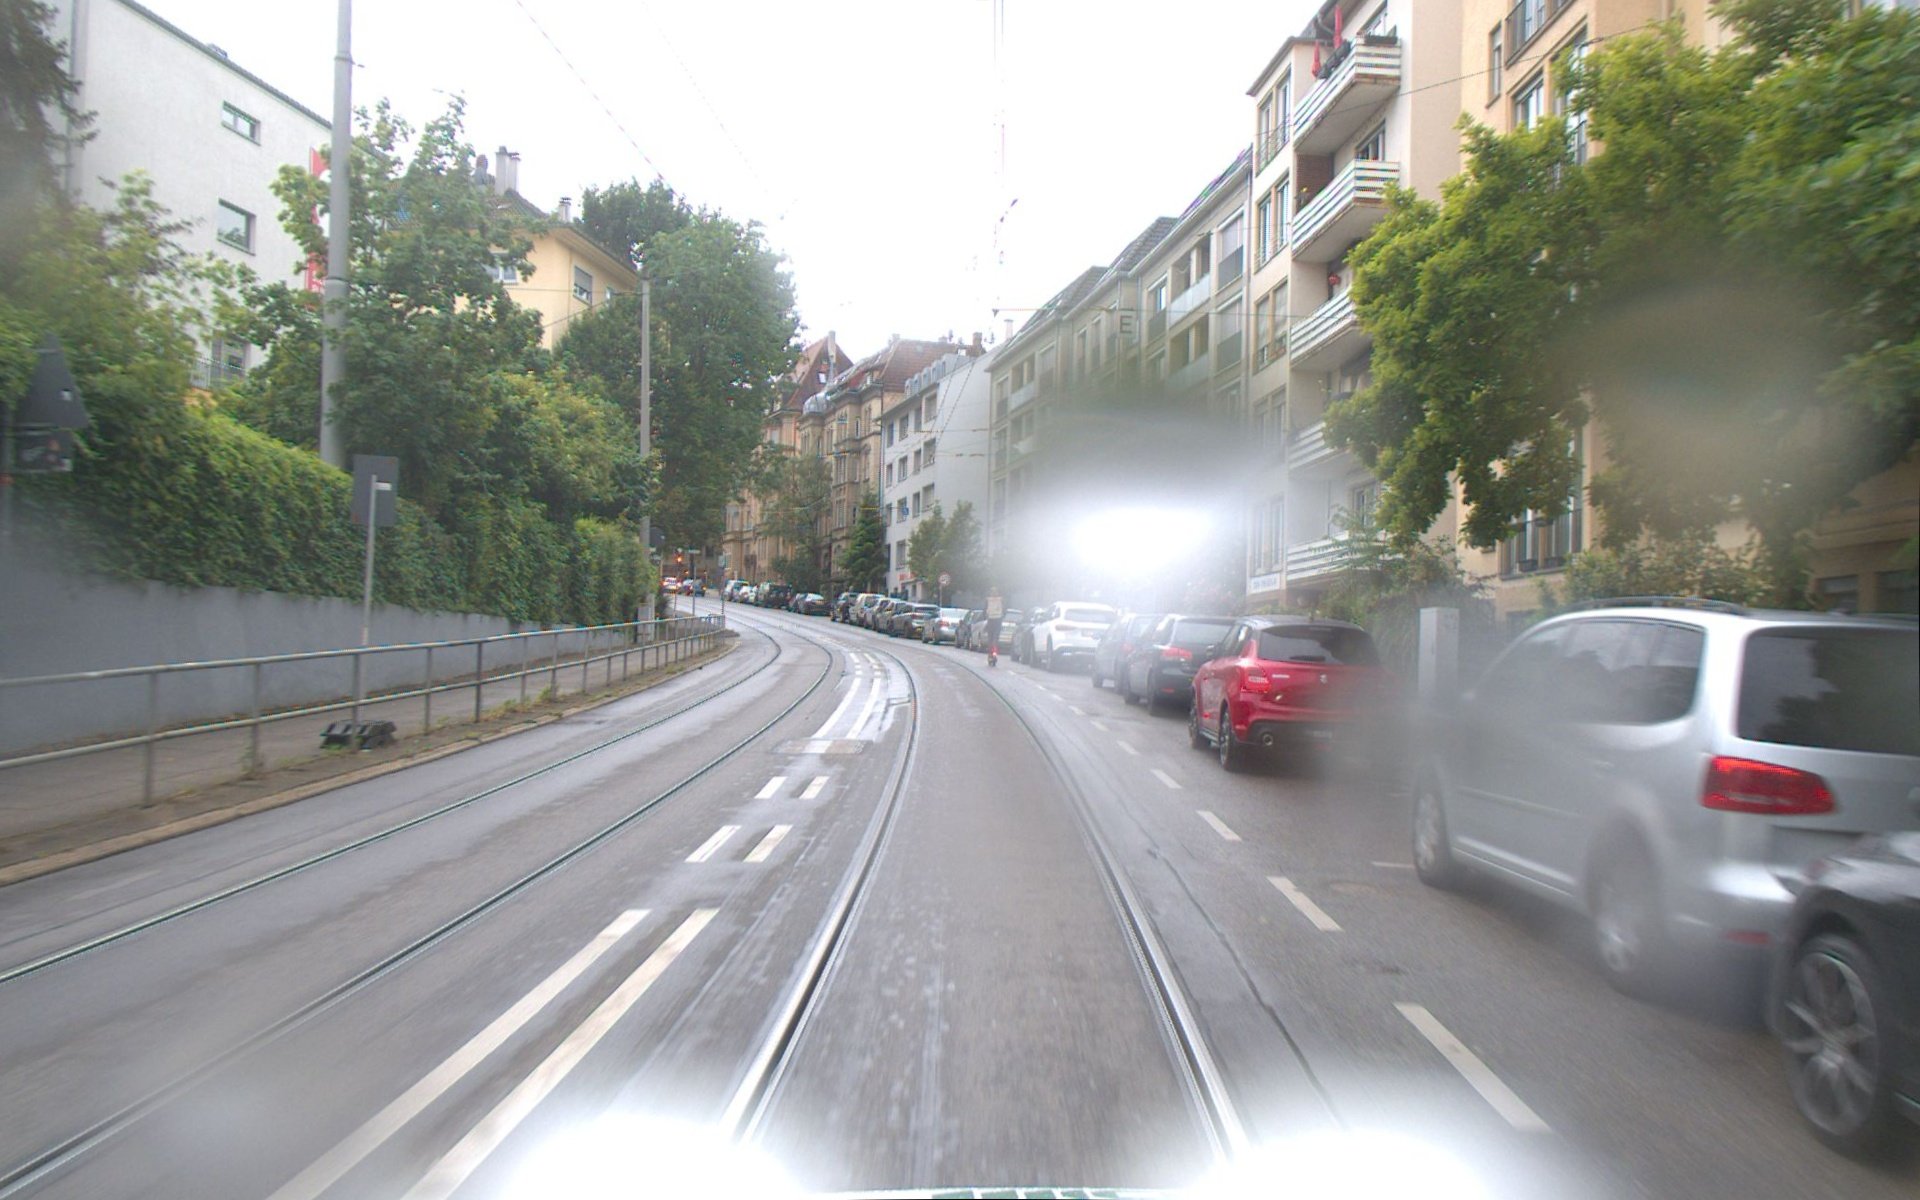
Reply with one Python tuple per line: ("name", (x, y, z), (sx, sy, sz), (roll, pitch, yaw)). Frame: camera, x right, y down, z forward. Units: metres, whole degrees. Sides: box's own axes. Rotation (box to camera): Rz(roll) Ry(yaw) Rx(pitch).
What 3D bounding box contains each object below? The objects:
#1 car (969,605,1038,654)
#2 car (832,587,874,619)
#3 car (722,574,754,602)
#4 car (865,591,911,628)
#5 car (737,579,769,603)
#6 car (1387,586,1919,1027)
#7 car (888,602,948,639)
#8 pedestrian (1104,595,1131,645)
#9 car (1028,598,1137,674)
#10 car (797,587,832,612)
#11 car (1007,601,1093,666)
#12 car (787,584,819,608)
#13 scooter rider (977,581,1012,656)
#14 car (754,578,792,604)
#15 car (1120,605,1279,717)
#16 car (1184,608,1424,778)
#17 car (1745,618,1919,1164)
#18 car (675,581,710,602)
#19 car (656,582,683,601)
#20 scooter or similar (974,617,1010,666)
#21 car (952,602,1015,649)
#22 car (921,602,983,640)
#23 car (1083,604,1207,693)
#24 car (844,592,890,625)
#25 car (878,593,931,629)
("car", (1.422, 0.965, 55.540), (1.630, 1.497, 4.501), (3, -1, -7))
("car", (-6.395, 0.172, 98.861), (1.736, 1.713, 4.233), (3, 0, -14))
("car", (-19.031, -1.084, 141.806), (1.996, 2.256, 4.120), (3, 0, -17))
("car", (-3.888, 0.466, 88.570), (1.736, 1.818, 4.235), (3, 0, -12))
("car", (-17.163, -0.773, 136.843), (1.994, 1.856, 4.123), (3, 0, -15))
("car", (3.609, 0.766, 8.298), (1.730, 1.631, 4.287), (0, 0, -2))
("car", (-1.995, 0.925, 76.927), (1.738, 1.643, 4.229), (1, 0, -17))
("pedestrian", (4.994, 0.621, 52.416), (0.559, 1.569, 0.927), (-1, 0, -12))
("car", (2.852, 0.813, 39.420), (1.802, 1.600, 4.243), (3, 0, -6))
("car", (-9.910, -0.051, 112.398), (1.736, 1.544, 4.125), (3, 0, -14))
("car", (2.380, 0.866, 44.848), (1.668, 1.538, 4.567), (4, 0, -4))
("car", (-11.140, -0.310, 117.021), (1.623, 1.563, 3.873), (-1, 2, -15))
("scooter rider", (0.828, 0.439, 40.090), (0.611, 1.735, 0.842), (4, 0, -9))
("car", (-14.282, -0.707, 126.137), (1.996, 1.856, 4.346), (3, 0, -18))
("car", (3.529, 0.855, 25.005), (1.649, 1.462, 4.063), (2, 0, -2))
("car", (3.412, 0.864, 17.082), (1.686, 1.462, 3.841), (2, 0, 1))
("car", (3.406, 0.855, 3.455), (1.729, 1.415, 4.002), (2, 2, 2))
("car", (-25.077, -0.787, 154.963), (2.005, 1.764, 4.102), (3, 0, -28))
("car", (-28.125, -0.838, 160.115), (1.830, 1.764, 4.115), (3, 0, -21))
("scooter or similar", (0.764, 0.992, 40.130), (0.504, 1.067, 2.005), (3, 0, -9))
("car", (0.820, 0.895, 60.081), (1.670, 1.538, 3.707), (3, 0, -9))
("car", (-0.360, 0.836, 67.296), (1.730, 1.460, 4.627), (1, 0, -10))
("car", (3.365, 0.846, 30.838), (1.526, 1.462, 4.300), (2, 0, -4))
("car", (-5.313, 0.444, 94.155), (1.737, 1.713, 4.232), (3, 0, -15))
("car", (-2.821, 0.537, 82.777), (1.737, 1.643, 4.232), (3, 0, -14))
